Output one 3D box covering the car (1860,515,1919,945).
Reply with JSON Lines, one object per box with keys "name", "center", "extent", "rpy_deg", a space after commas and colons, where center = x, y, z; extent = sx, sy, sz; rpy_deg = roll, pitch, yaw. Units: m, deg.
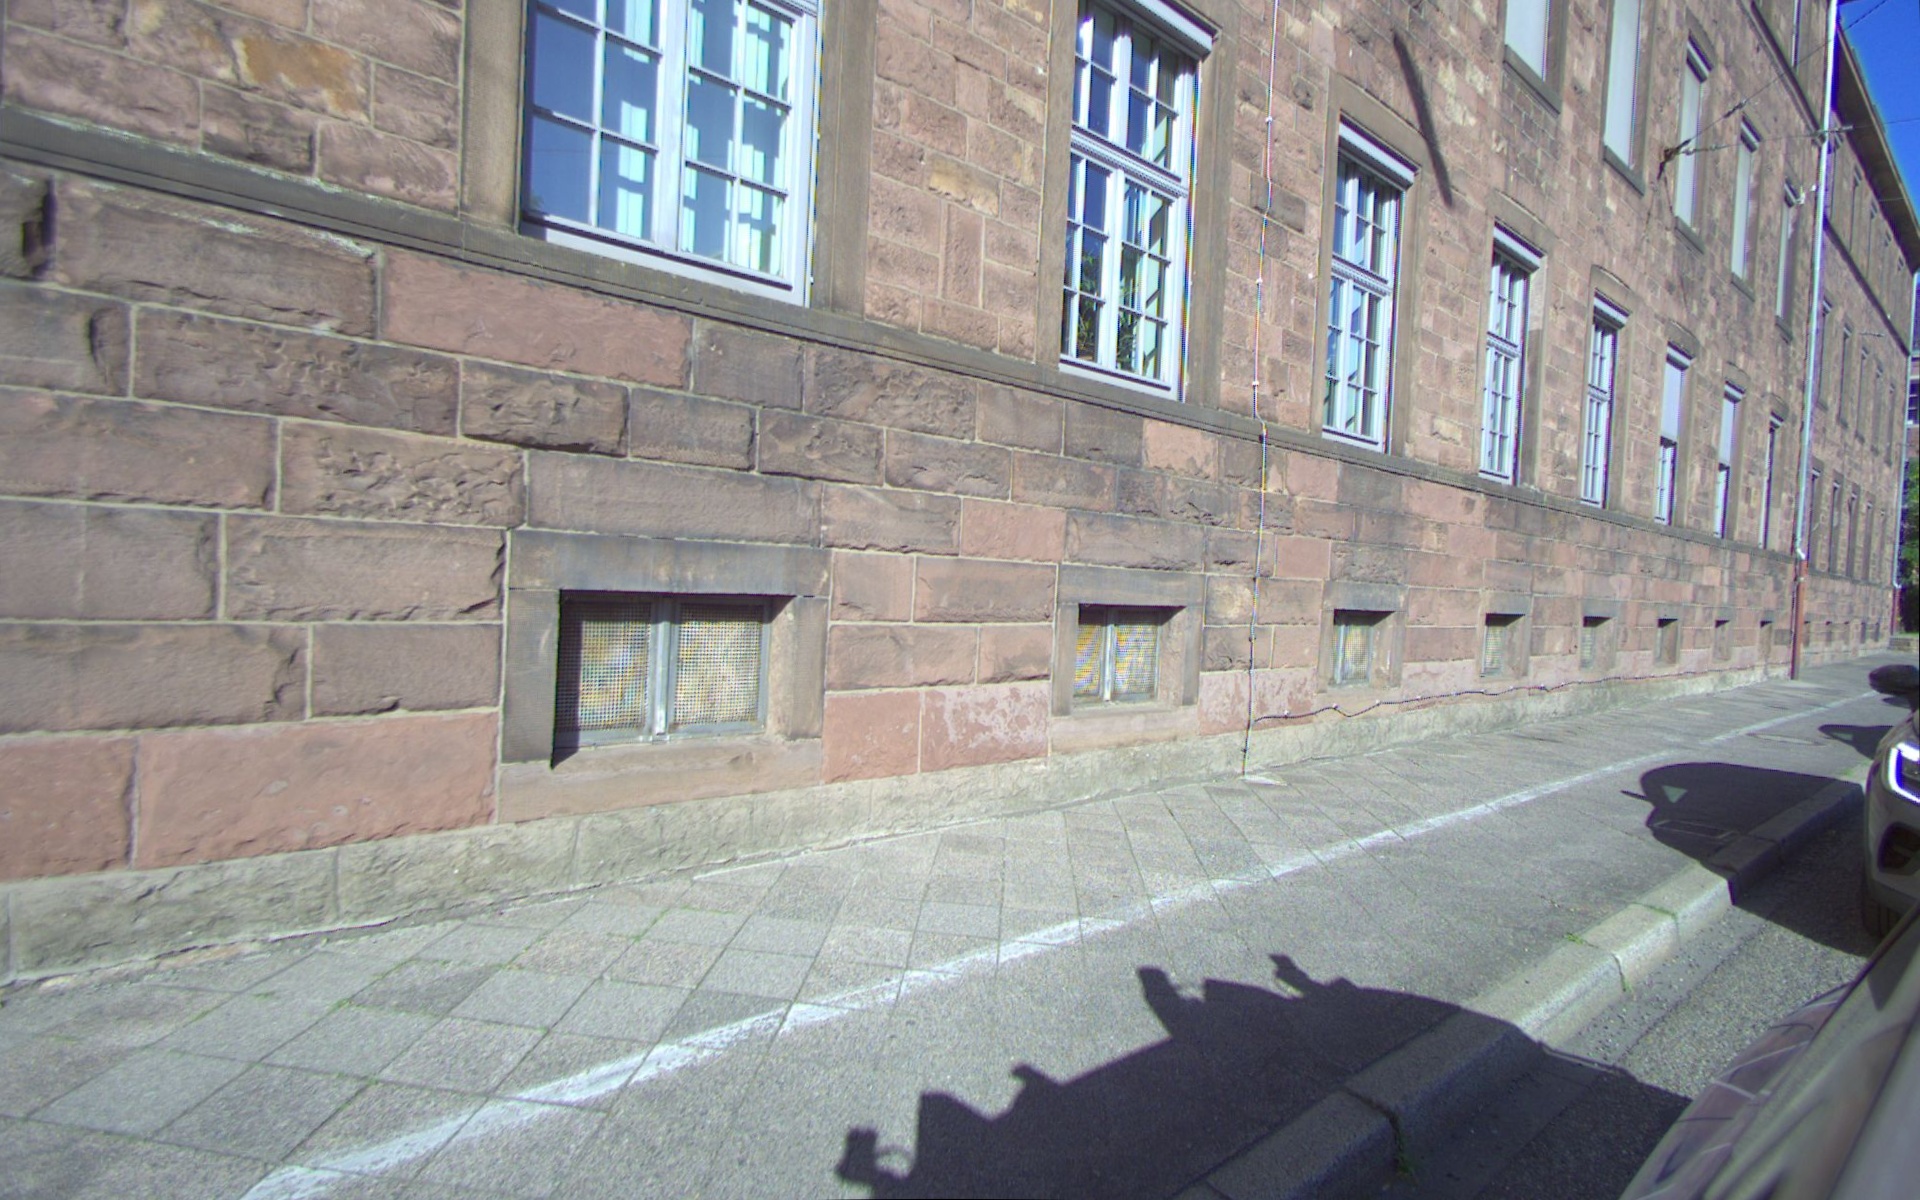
{"name": "car", "center": [5.494, 0.530, 4.563], "extent": [3.735, 1.624, 1.793], "rpy_deg": [1, 1, -43]}
